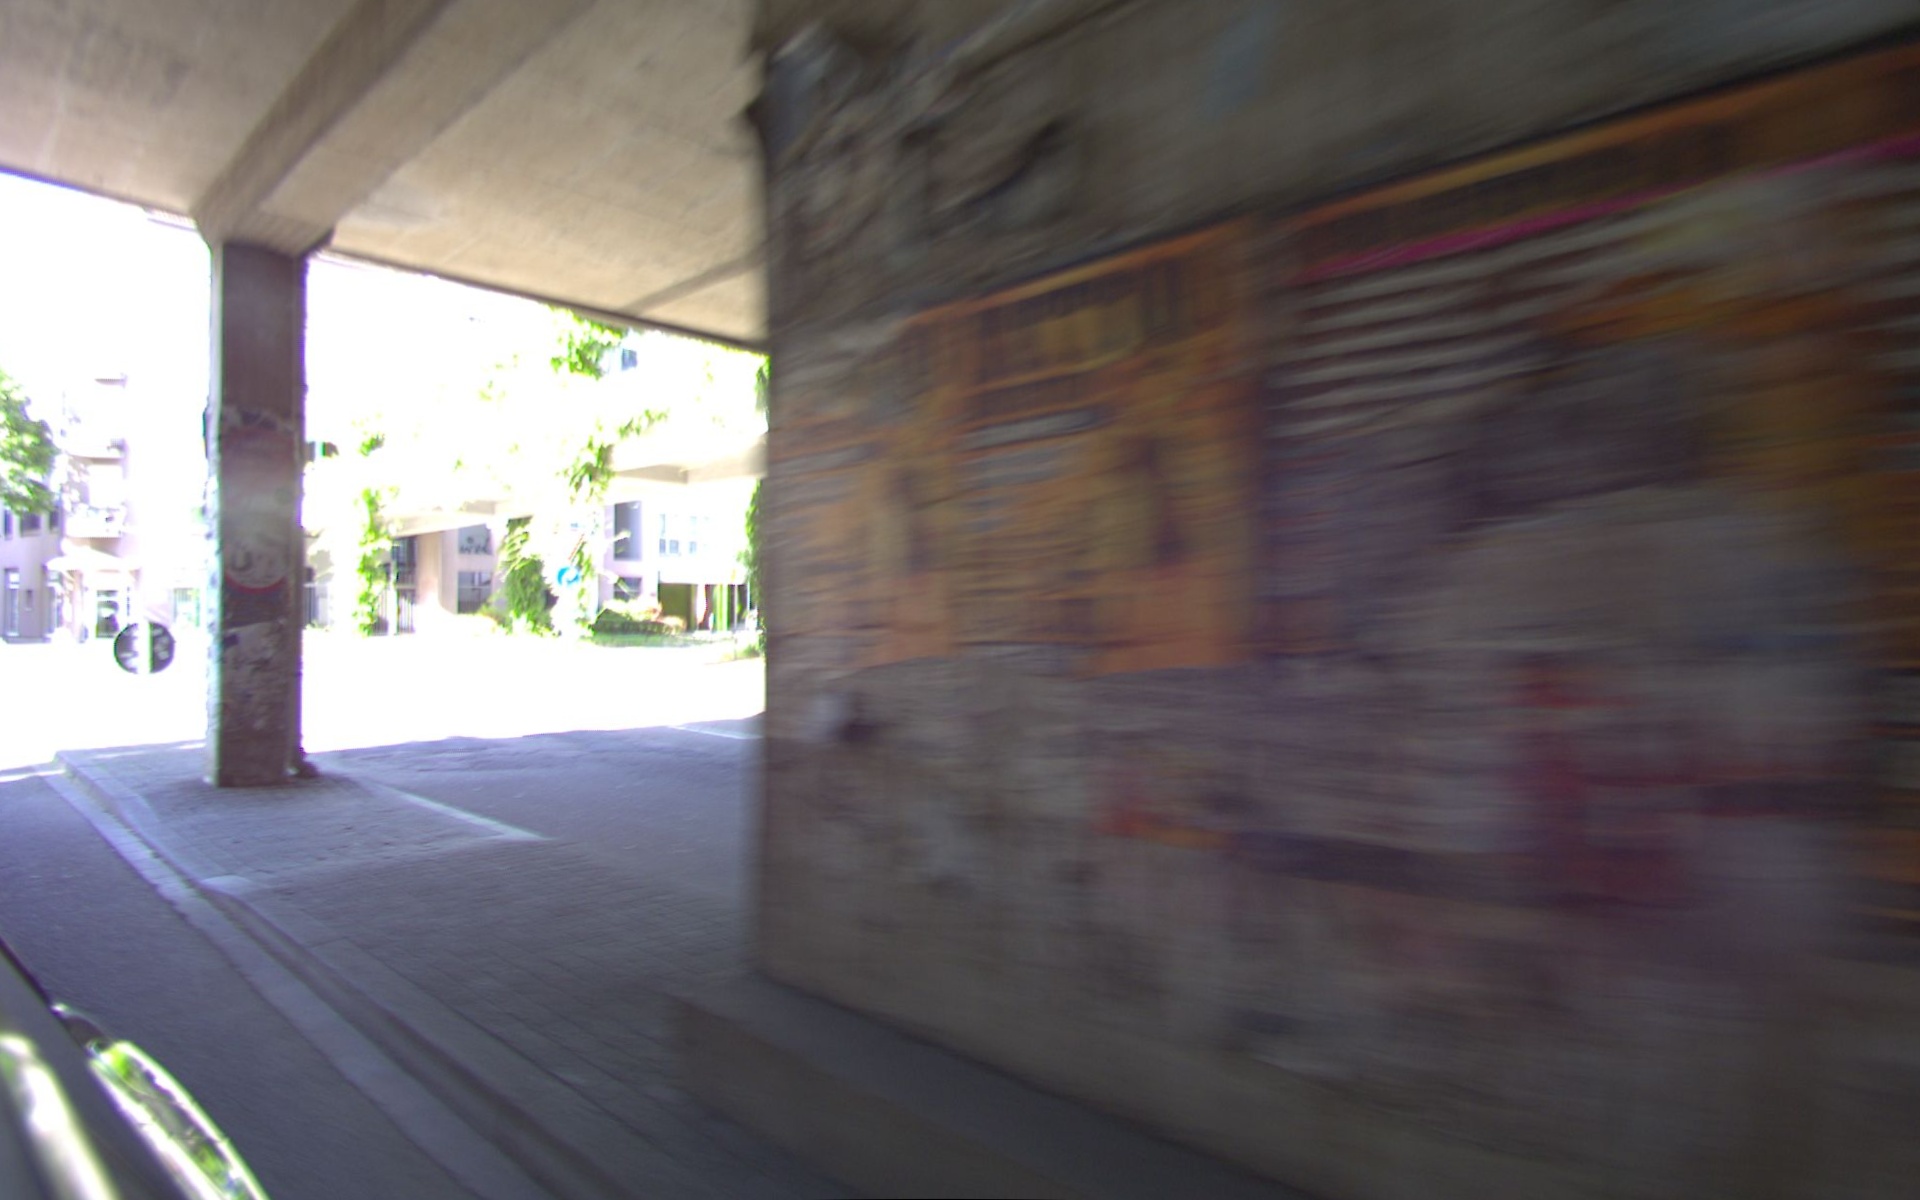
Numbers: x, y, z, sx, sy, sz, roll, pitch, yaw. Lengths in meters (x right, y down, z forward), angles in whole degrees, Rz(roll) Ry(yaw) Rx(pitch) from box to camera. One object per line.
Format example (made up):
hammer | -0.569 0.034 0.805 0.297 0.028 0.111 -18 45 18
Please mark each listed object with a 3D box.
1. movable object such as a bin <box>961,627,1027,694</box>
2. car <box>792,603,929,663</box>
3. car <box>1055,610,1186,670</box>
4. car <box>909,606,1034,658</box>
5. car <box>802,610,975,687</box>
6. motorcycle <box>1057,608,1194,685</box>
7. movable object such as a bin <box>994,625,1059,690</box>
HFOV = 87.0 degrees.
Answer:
movable object such as a bin | 0.491 0.848 14.488 0.641 0.912 0.709 -1 -1 41
car | -2.848 0.921 29.468 1.746 1.550 3.726 2 1 42
car | 4.498 1.065 28.063 1.738 1.541 3.944 0 -1 42
car | 0.435 1.002 32.571 1.657 1.459 4.224 4 2 41
car | -1.452 0.975 21.548 1.610 1.497 3.598 0 -1 41
motorcycle | 2.550 0.694 15.772 2.148 1.119 0.521 0 -1 40
movable object such as a bin | 0.996 0.839 15.062 0.641 0.912 0.777 -1 -1 41
